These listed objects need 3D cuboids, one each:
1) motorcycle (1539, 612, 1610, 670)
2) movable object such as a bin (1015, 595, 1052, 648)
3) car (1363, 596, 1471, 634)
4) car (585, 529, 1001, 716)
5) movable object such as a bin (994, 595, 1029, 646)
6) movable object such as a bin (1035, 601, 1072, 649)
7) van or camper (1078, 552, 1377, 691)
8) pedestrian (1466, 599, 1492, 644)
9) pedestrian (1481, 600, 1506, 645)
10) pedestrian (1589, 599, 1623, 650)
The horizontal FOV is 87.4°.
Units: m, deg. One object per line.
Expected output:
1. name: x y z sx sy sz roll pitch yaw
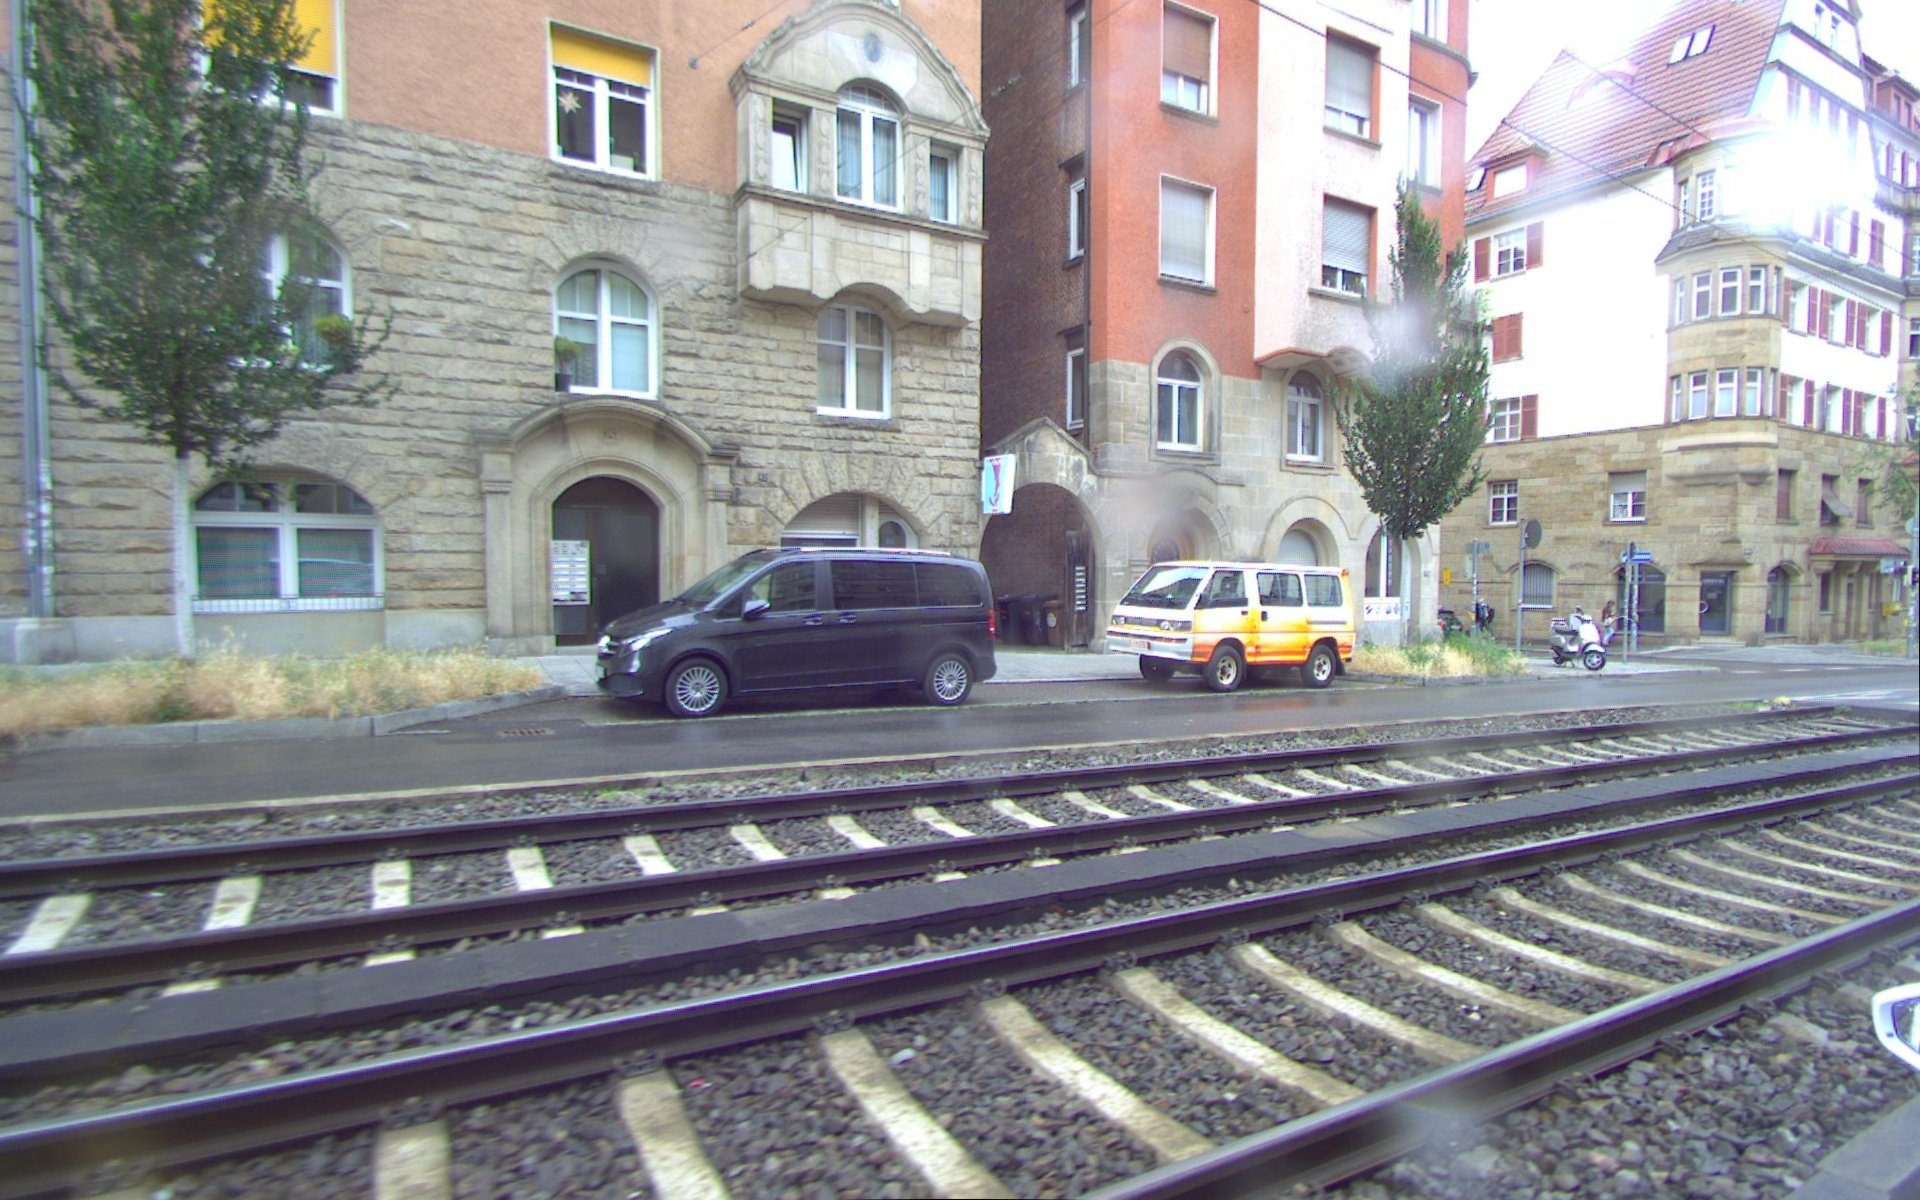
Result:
1. motorcycle: 13.304 0.864 21.798 0.608 1.149 1.441 2 1 0
2. movable object such as a bin: 1.547 0.446 21.080 0.513 1.075 0.571 1 2 -30
3. car: 17.804 0.565 39.281 1.543 1.329 3.603 1 1 -30
4. car: -1.994 0.256 12.354 4.643 1.927 1.984 1 0 -30
5. movable object such as a bin: 1.099 0.434 21.541 0.513 1.075 0.571 1 2 -30
6. movable object such as a bin: 1.914 0.508 20.609 0.513 0.968 0.571 1 2 -30
7. van or camper: 4.396 0.320 16.302 4.647 1.927 1.982 1 3 -32
8. pedestrian: 20.569 0.855 39.839 0.635 1.756 0.604 1 1 -29
9. pedestrian: 21.303 0.882 40.109 0.635 1.756 0.604 1 1 -29
10. pedestrian: 22.774 0.865 35.418 0.854 1.756 0.604 1 1 -29
